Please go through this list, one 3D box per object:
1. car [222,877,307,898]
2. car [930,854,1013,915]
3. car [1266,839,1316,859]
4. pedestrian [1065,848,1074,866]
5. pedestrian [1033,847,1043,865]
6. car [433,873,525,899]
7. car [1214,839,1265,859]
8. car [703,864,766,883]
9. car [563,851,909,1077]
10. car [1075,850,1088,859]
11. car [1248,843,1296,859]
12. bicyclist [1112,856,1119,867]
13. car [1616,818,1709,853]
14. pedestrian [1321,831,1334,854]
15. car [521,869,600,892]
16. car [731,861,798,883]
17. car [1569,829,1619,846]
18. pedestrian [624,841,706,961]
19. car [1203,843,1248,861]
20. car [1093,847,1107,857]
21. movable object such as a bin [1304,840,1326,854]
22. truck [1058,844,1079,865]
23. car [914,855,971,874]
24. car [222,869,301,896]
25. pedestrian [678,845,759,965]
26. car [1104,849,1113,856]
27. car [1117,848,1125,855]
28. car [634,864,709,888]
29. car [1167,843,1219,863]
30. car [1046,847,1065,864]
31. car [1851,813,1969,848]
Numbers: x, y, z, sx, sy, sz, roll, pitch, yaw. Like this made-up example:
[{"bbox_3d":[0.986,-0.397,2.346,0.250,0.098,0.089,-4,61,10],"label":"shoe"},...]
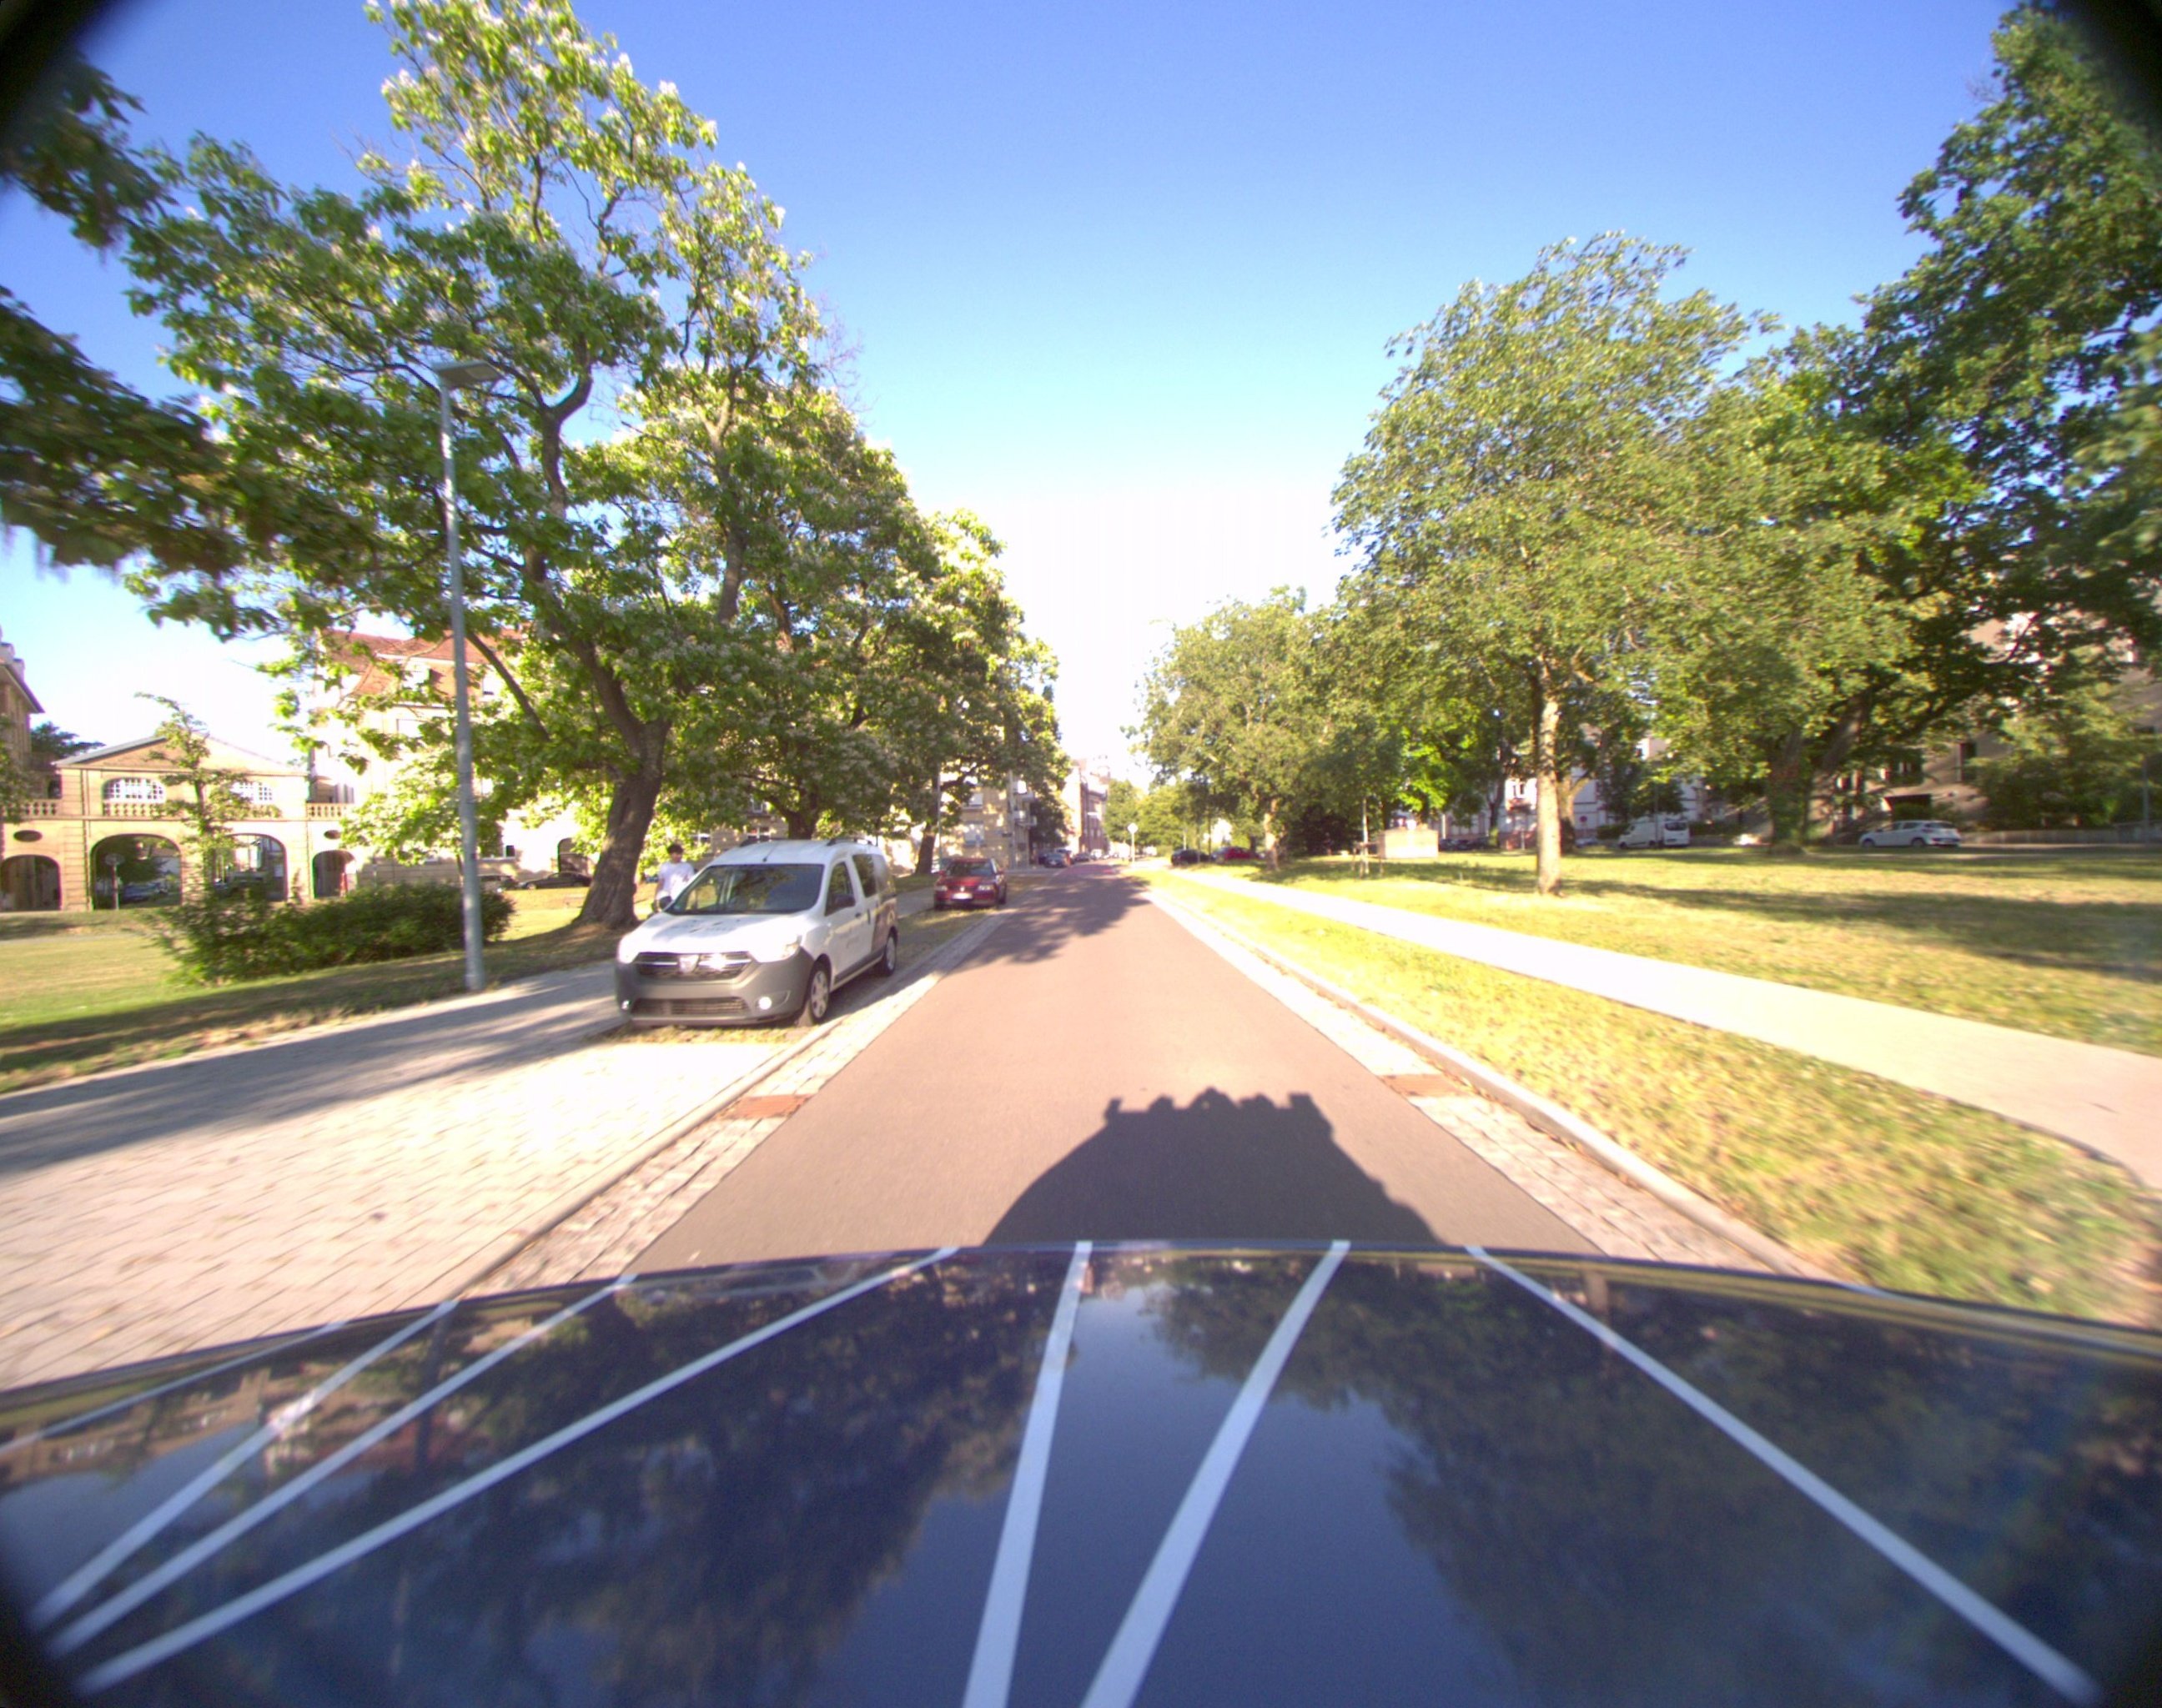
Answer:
[{"bbox_3d":[-65.359,2.662,60.903,1.814,1.409,4.379,-1,1,35],"label":"car"},{"bbox_3d":[-3.093,0.814,22.322,1.682,1.477,4.808,-2,1,0],"label":"car"},{"bbox_3d":[19.101,-0.484,69.243,4.003,1.565,1.887,-3,3,-20],"label":"car"},{"bbox_3d":[-1.127,0.287,77.338,0.778,1.759,0.955,-3,1,2],"label":"pedestrian"},{"bbox_3d":[-4.364,0.211,76.602,0.733,1.820,0.555,-3,1,-35],"label":"pedestrian"},{"bbox_3d":[-38.585,2.028,48.836,4.377,1.409,1.815,-2,1,-29],"label":"car"},{"bbox_3d":[14.018,-0.468,67.166,4.004,1.565,1.887,-3,3,-24],"label":"car"},{"bbox_3d":[-27.563,1.523,60.628,4.458,1.317,1.502,-2,1,-21],"label":"car"},{"bbox_3d":[-3.273,0.875,8.360,1.682,1.730,4.513,-2,1,0],"label":"car"},{"bbox_3d":[0.146,0.093,121.180,1.610,1.349,3.549,-2,1,7],"label":"car"},{"bbox_3d":[18.955,-0.304,75.431,4.281,1.392,1.836,-2,1,-21],"label":"car"},{"bbox_3d":[5.416,1.143,120.342,0.939,1.693,0.906,-2,1,7],"label":"bicyclist"},{"bbox_3d":[39.686,-1.236,52.095,2.675,2.101,4.969,-3,1,3],"label":"car"},{"bbox_3d":[18.662,-0.897,57.507,0.663,1.686,0.672,-3,1,2],"label":"pedestrian"},{"bbox_3d":[-38.221,1.911,55.976,4.657,1.409,1.815,-2,1,-31],"label":"car"},{"bbox_3d":[-23.191,1.285,55.858,4.370,1.409,1.842,-2,1,-19],"label":"car"},{"bbox_3d":[53.746,-1.740,79.644,3.997,1.565,1.890,-2,2,0],"label":"car"},{"bbox_3d":[-6.277,0.682,11.492,0.727,1.726,0.731,-3,1,1],"label":"pedestrian"},{"bbox_3d":[13.922,-0.172,73.377,3.851,1.622,1.836,-2,1,-23],"label":"car"},{"bbox_3d":[3.774,-0.397,149.356,2.118,1.942,4.763,-2,1,8],"label":"car"},{"bbox_3d":[17.716,-0.538,57.517,1.332,0.984,0.949,-2,1,1],"label":"movable object such as a bin"},{"bbox_3d":[-1.595,0.010,97.775,2.133,2.549,6.877,-2,1,3],"label":"truck"},{"bbox_3d":[-11.610,0.836,63.891,4.452,1.411,1.934,-2,1,-5],"label":"car"},{"bbox_3d":[-70.098,2.402,65.010,1.814,2.096,4.380,-1,1,38],"label":"car"},{"bbox_3d":[-5.462,0.742,11.490,0.755,1.726,0.731,-3,1,1],"label":"pedestrian"},{"bbox_3d":[5.734,-0.314,158.415,1.582,1.499,3.848,-2,1,7],"label":"car"},{"bbox_3d":[9.254,-0.535,176.149,1.582,1.499,3.848,-2,1,8],"label":"car"},{"bbox_3d":[-28.855,1.532,53.685,4.443,1.409,1.563,-2,1,-23],"label":"car"},{"bbox_3d":[9.672,-0.101,65.600,4.004,1.565,1.887,-3,3,-24],"label":"car"},{"bbox_3d":[-2.530,0.139,75.769,1.707,1.616,4.349,0,0,1],"label":"car"},{"bbox_3d":[42.589,-1.186,39.149,1.998,1.608,3.738,-3,1,1],"label":"car"}]
